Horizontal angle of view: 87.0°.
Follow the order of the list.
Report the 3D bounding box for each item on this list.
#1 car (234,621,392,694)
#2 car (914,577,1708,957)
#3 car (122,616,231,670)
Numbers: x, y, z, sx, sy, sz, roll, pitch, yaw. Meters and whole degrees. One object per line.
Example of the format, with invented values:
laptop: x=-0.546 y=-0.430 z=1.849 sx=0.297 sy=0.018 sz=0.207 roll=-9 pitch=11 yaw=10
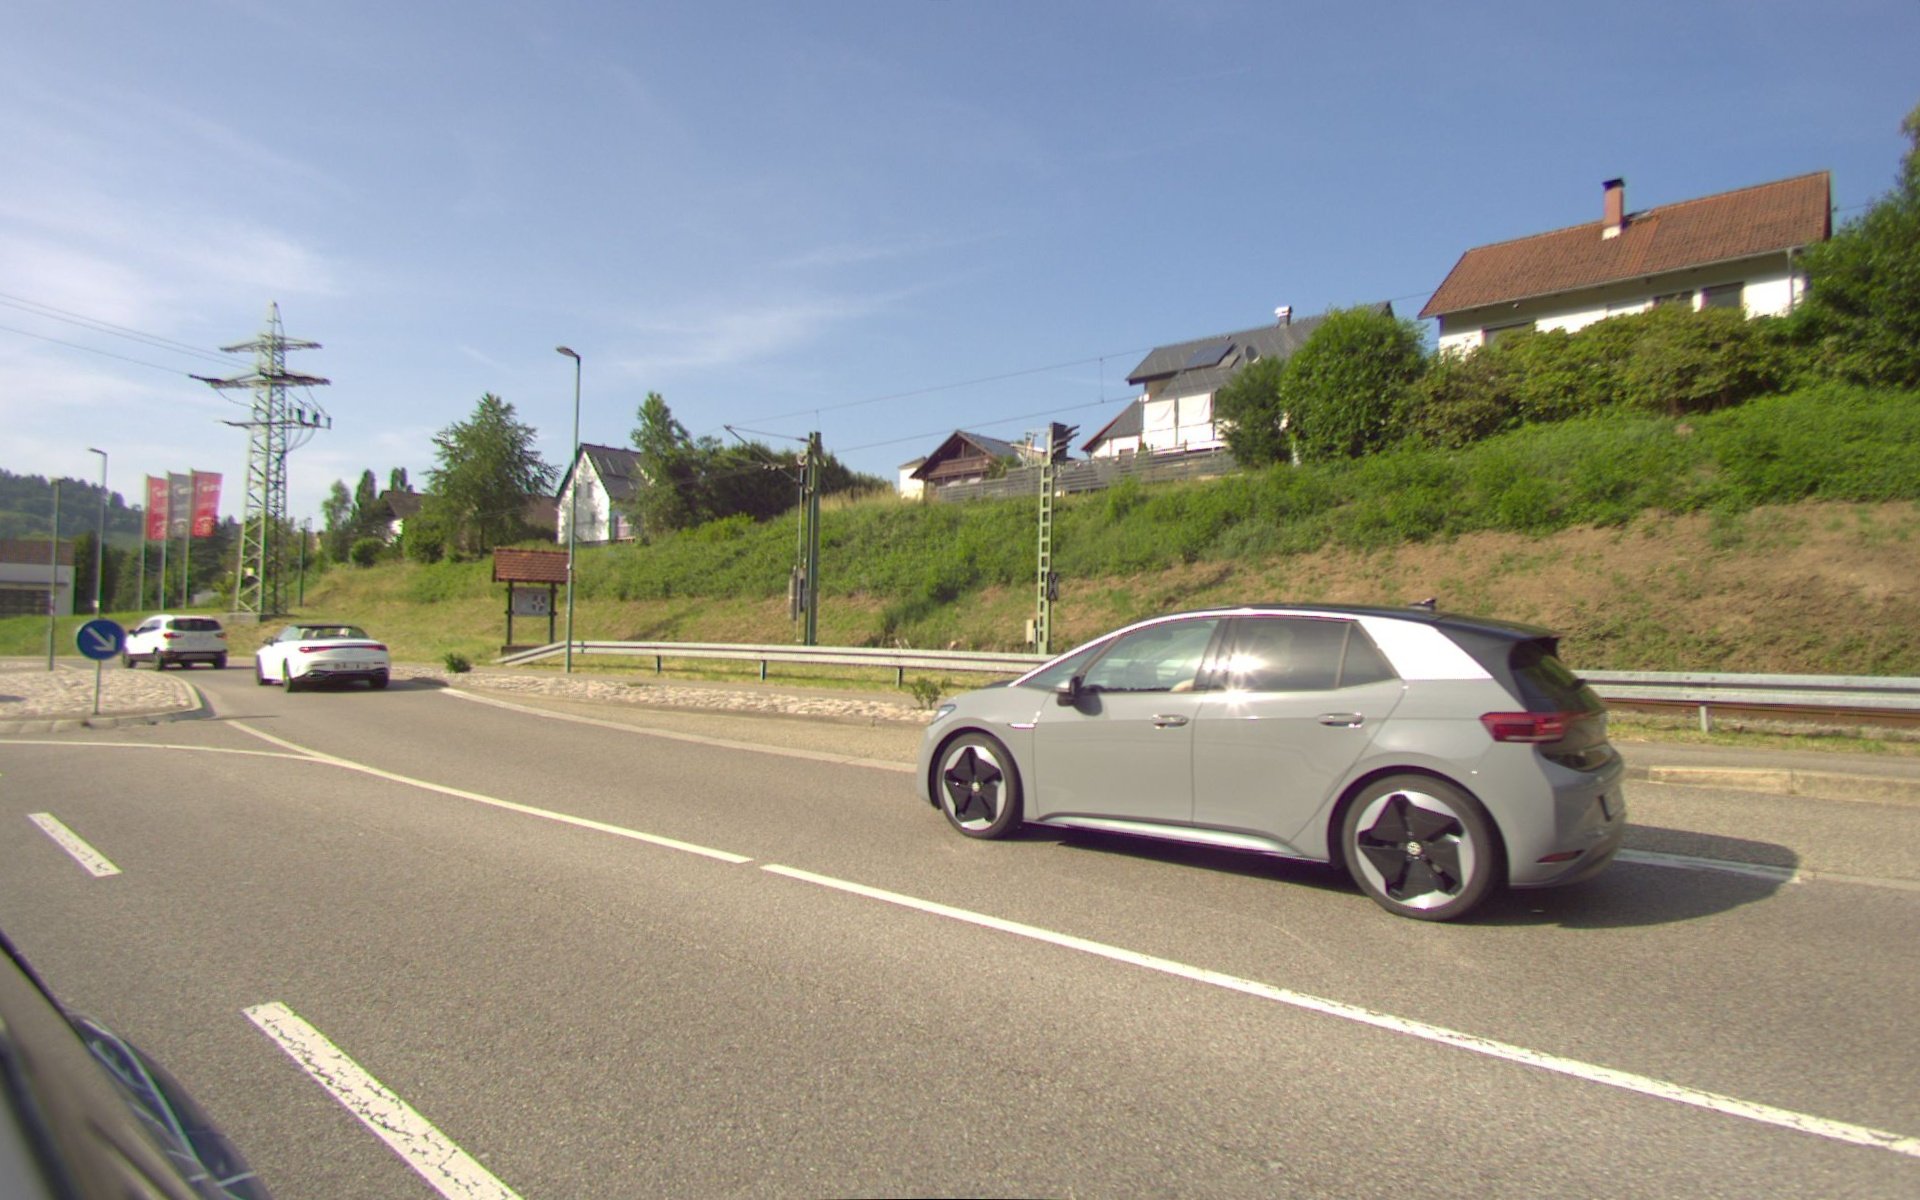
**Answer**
car: x=-14.141 y=1.184 z=21.996 sx=4.827 sy=1.410 sz=1.762 roll=-2 pitch=-2 yaw=43
car: x=1.839 y=0.730 z=6.151 sx=4.203 sy=1.533 sz=1.740 roll=-2 pitch=-2 yaw=41
car: x=-24.194 y=1.291 z=31.207 sx=3.995 sy=1.572 sz=1.747 roll=-1 pitch=-2 yaw=38
